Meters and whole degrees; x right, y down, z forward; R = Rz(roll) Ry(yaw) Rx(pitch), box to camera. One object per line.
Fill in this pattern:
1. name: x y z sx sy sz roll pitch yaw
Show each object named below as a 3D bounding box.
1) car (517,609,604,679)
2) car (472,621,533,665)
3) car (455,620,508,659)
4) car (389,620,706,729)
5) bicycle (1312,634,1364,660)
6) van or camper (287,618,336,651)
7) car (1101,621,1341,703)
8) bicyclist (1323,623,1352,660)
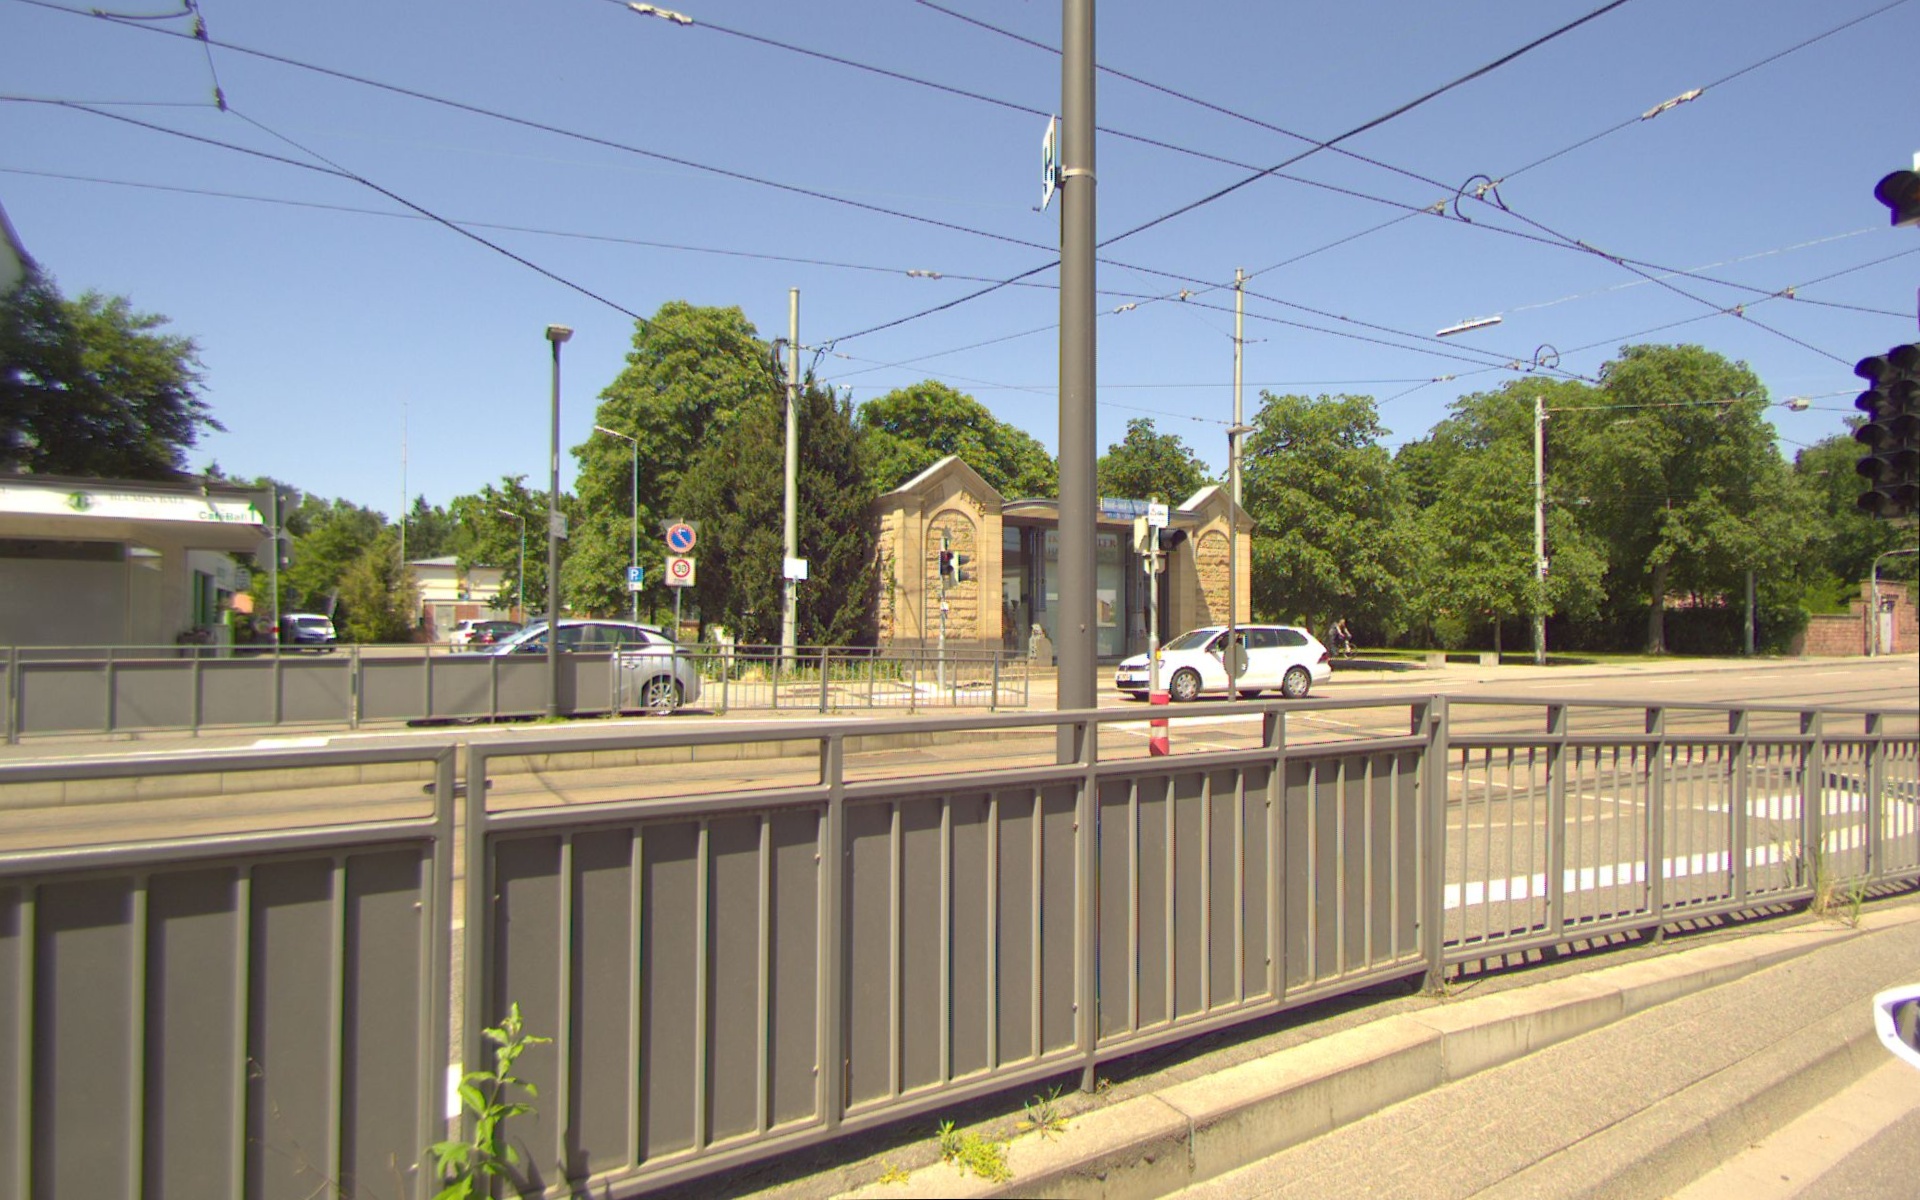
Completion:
1. car: -9.934 1.026 24.809 1.799 1.472 3.934 1 1 -25
2. car: -15.537 1.450 34.023 1.624 1.388 3.785 1 -3 -29
3. car: -18.793 1.563 39.400 1.625 1.465 3.784 1 -3 -29
4. car: -5.856 1.018 14.446 4.000 1.380 1.811 1 -3 -28
5. bicycle: 16.127 1.987 42.926 0.710 1.055 2.083 1 -2 -34
6. van or camper: -32.217 1.682 49.864 1.676 1.587 3.784 1 -2 -38
7. car: 5.224 1.204 20.148 4.430 1.509 1.816 1 -1 -20
8. bicyclist: 16.156 1.769 43.018 0.845 1.551 0.837 1 -1 -35
